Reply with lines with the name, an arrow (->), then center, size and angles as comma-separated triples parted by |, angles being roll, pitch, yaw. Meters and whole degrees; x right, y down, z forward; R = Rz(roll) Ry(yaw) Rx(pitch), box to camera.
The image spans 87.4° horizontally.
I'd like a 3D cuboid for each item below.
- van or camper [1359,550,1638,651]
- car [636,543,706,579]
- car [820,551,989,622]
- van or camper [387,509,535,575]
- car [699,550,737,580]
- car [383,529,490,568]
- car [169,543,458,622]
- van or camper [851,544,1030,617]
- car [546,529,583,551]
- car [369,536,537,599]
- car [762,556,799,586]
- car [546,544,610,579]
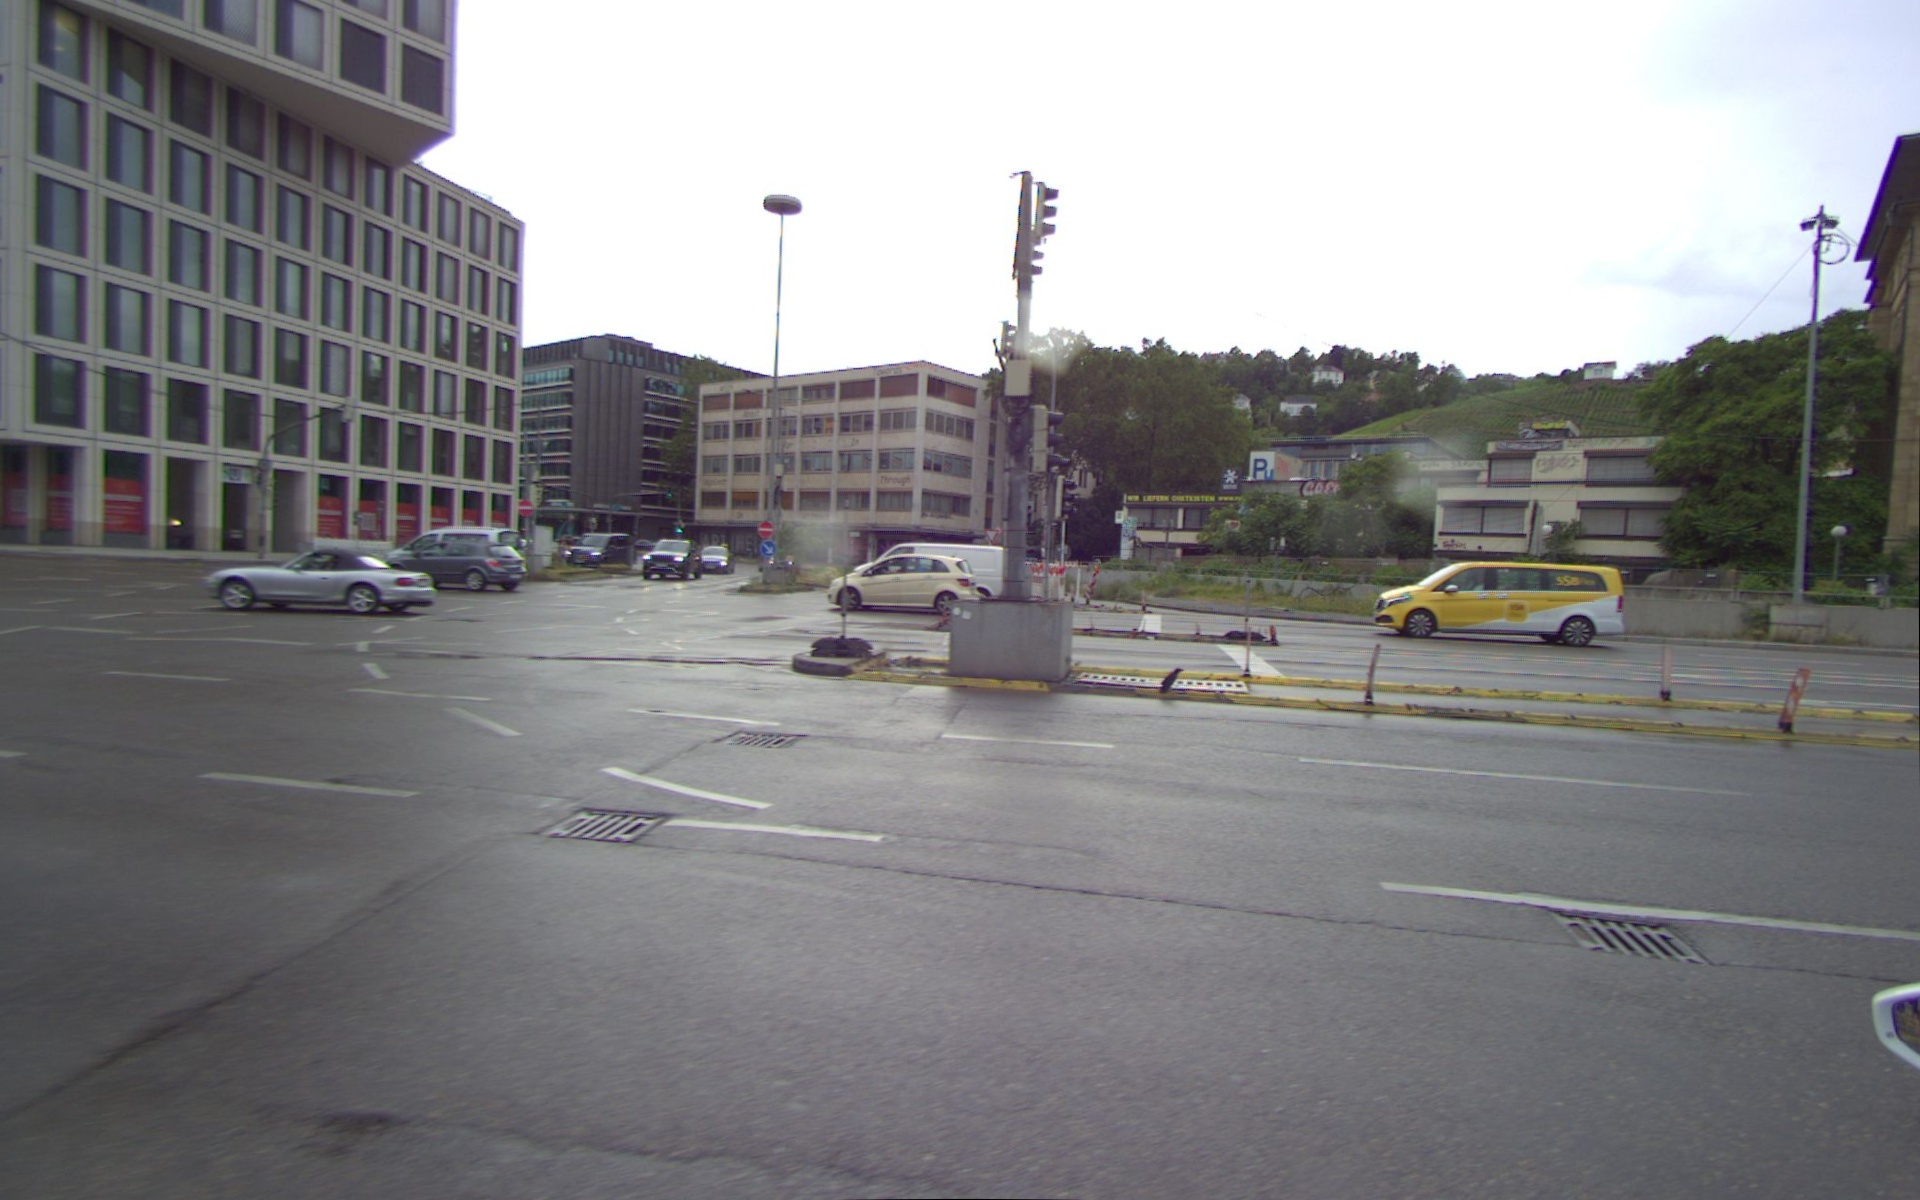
van or camper -> 12.943, -0.062, 24.589 | 5.494, 2.082, 2.247 | 3, 3, 13
car -> -12.886, -1.769, 45.018 | 1.800, 1.506, 4.000 | 2, 3, 2
car -> -1.486, -0.417, 27.711 | 4.291, 1.696, 1.848 | 3, 3, 11
van or camper -> -16.821, -1.962, 33.959 | 4.169, 2.005, 1.852 | 3, 3, 9
car -> -13.318, -1.943, 55.116 | 1.670, 1.578, 3.983 | 1, 2, -18
car -> -25.639, -2.511, 49.410 | 2.184, 1.777, 4.814 | 2, 3, 10
car -> -12.473, -0.356, 19.624 | 4.445, 1.327, 1.640 | 2, 3, -7
van or camper -> -0.547, -0.620, 30.528 | 5.107, 1.919, 1.888 | 3, 3, 9
car -> -41.905, -6.345, 106.387 | 3.938, 2.040, 1.991 | 6, 3, 39
car -> -14.860, -0.981, 29.510 | 4.096, 1.620, 1.852 | 3, 3, 9
car -> -11.021, -1.815, 61.468 | 1.670, 1.720, 3.983 | 1, 2, -18
car -> -18.372, -1.864, 48.443 | 1.854, 1.578, 3.996 | 2, 2, -6
